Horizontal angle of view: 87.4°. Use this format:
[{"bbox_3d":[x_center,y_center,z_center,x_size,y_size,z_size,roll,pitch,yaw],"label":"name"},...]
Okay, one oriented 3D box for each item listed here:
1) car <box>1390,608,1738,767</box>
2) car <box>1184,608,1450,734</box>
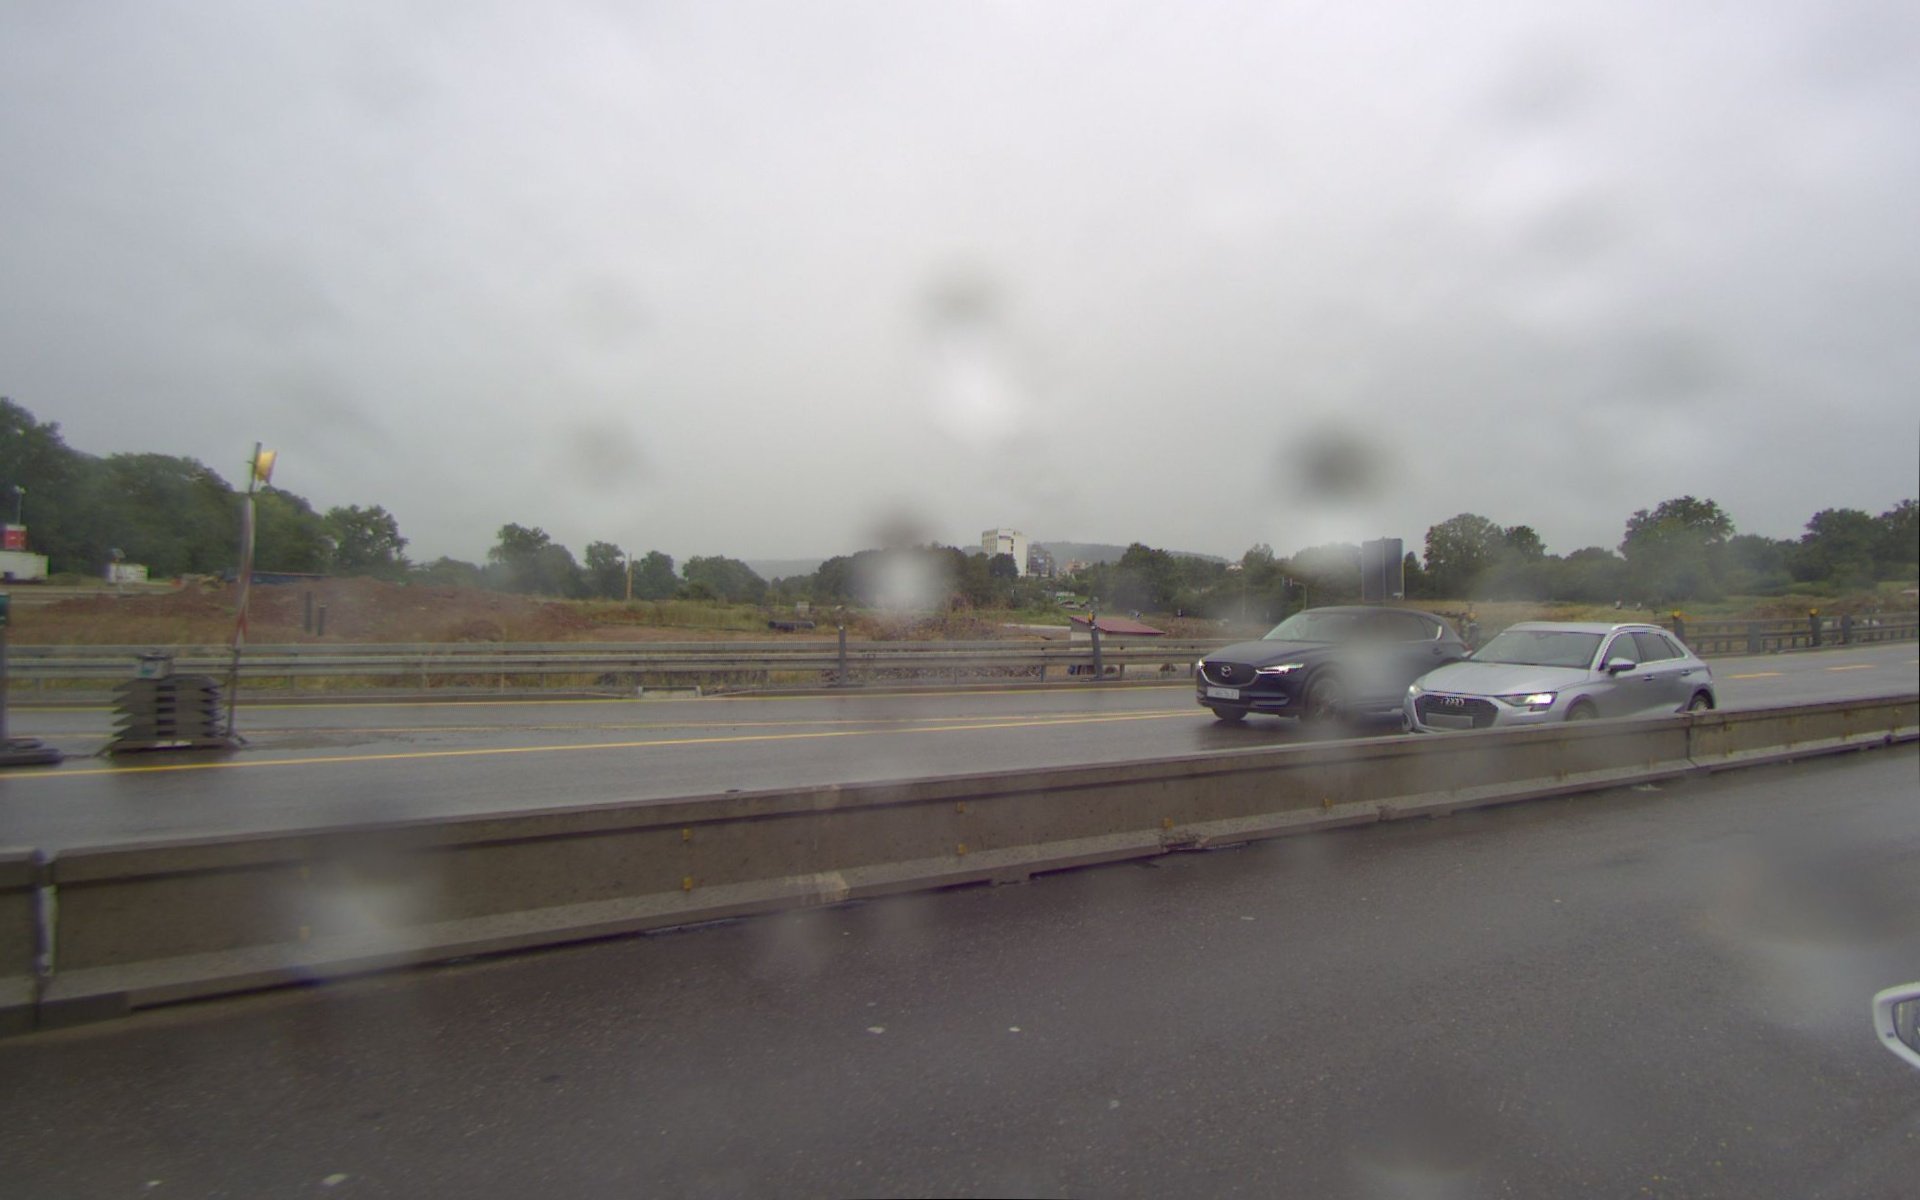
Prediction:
[{"bbox_3d":[7.044,0.903,11.594,4.296,1.544,1.668,1,-1,-32],"label":"car"},{"bbox_3d":[5.096,0.916,14.158,3.840,1.544,1.713,2,-1,-37],"label":"car"}]
